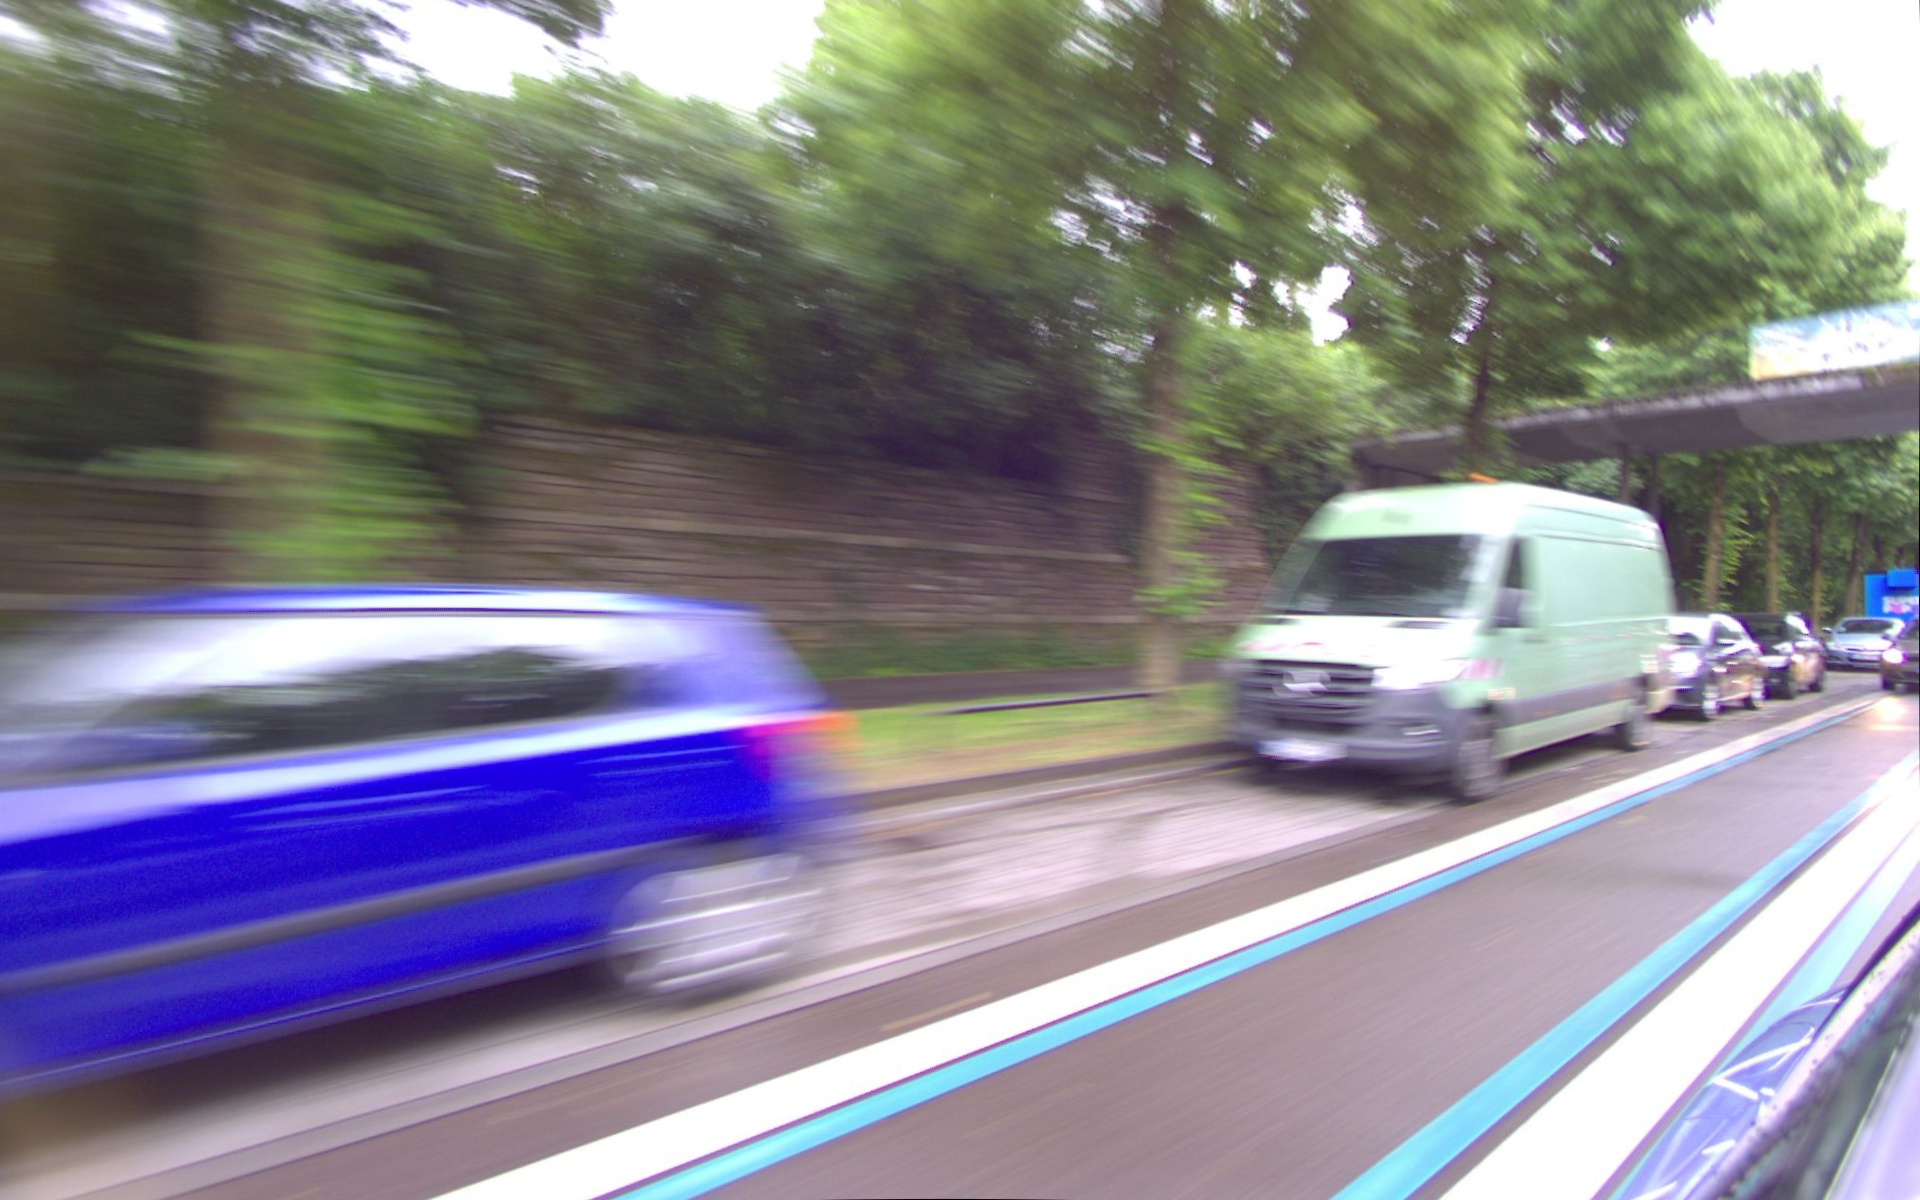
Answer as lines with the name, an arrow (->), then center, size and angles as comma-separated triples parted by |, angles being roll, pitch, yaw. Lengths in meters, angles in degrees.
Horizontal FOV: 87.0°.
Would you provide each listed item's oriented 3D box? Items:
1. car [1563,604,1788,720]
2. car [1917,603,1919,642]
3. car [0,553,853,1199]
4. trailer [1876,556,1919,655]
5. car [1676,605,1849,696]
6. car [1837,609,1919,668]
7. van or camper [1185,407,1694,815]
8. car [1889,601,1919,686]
car -> 10.410, 0.787, 14.620 | 4.027, 1.434, 1.689 | 0, 0, -40
car -> 39.512, 0.909, 40.182 | 4.491, 1.522, 1.828 | 0, 0, -42
car -> -2.388, 0.663, 3.436 | 3.768, 1.533, 1.688 | 0, -1, -41
trailer -> 28.572, 0.174, 29.802 | 3.937, 2.793, 1.956 | 1, 0, -41
car -> 14.467, 0.814, 18.173 | 4.123, 1.434, 1.689 | 0, 0, -41
car -> 23.457, 0.927, 25.593 | 3.798, 1.370, 1.585 | 0, -1, -44
van or camper -> 5.068, 0.093, 9.916 | 6.781, 2.764, 2.045 | 0, -1, -42
car -> 19.188, 0.800, 19.197 | 4.065, 1.527, 1.822 | 0, 0, -40
